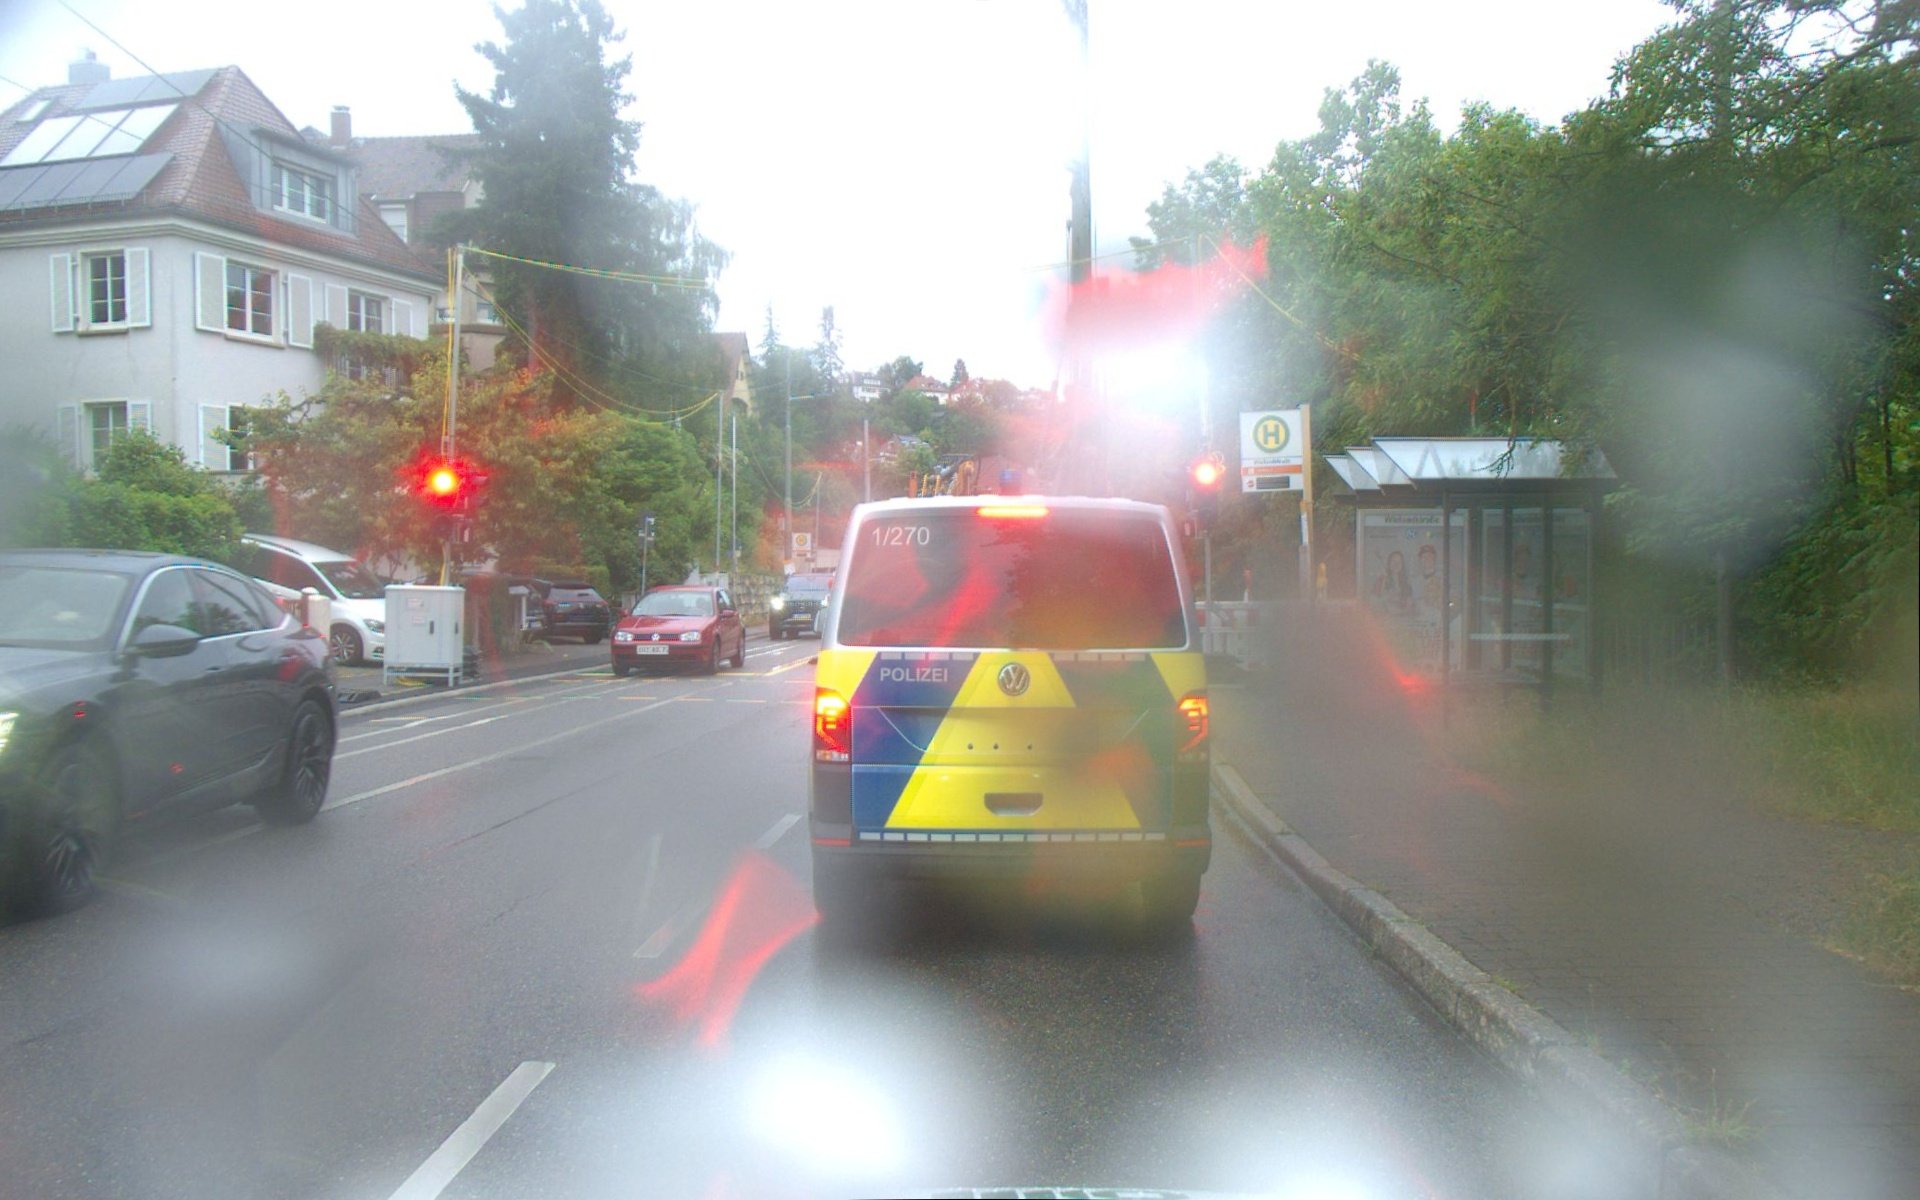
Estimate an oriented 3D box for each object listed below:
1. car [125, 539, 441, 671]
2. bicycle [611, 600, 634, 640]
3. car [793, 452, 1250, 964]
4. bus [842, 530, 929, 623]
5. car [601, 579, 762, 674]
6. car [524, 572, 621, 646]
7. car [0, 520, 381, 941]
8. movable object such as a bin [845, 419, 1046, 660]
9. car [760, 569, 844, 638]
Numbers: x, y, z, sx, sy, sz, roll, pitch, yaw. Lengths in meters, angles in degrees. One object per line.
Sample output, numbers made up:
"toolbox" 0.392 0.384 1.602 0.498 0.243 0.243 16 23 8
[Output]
"car" -11.205 0.057 27.498 4.532 2.042 1.902 1 0 11
"bicycle" -8.050 0.467 39.462 0.455 0.913 1.628 0 0 -15
"car" 0.230 0.434 8.828 1.855 2.086 3.999 1 0 -1
"bus" -3.138 -1.004 73.559 2.782 3.783 12.009 1 0 2
"car" -4.632 0.396 28.014 1.727 1.488 3.889 0 1 6
"car" -8.907 0.176 37.836 1.739 1.512 3.721 1 2 -20
"car" -4.879 0.508 8.840 1.953 1.703 4.687 1 0 -1
"movable object such as a bin" -0.162 -1.095 31.646 2.770 4.250 4.384 1 0 14
"car" -4.301 0.072 45.675 1.939 1.778 4.552 1 1 -1
